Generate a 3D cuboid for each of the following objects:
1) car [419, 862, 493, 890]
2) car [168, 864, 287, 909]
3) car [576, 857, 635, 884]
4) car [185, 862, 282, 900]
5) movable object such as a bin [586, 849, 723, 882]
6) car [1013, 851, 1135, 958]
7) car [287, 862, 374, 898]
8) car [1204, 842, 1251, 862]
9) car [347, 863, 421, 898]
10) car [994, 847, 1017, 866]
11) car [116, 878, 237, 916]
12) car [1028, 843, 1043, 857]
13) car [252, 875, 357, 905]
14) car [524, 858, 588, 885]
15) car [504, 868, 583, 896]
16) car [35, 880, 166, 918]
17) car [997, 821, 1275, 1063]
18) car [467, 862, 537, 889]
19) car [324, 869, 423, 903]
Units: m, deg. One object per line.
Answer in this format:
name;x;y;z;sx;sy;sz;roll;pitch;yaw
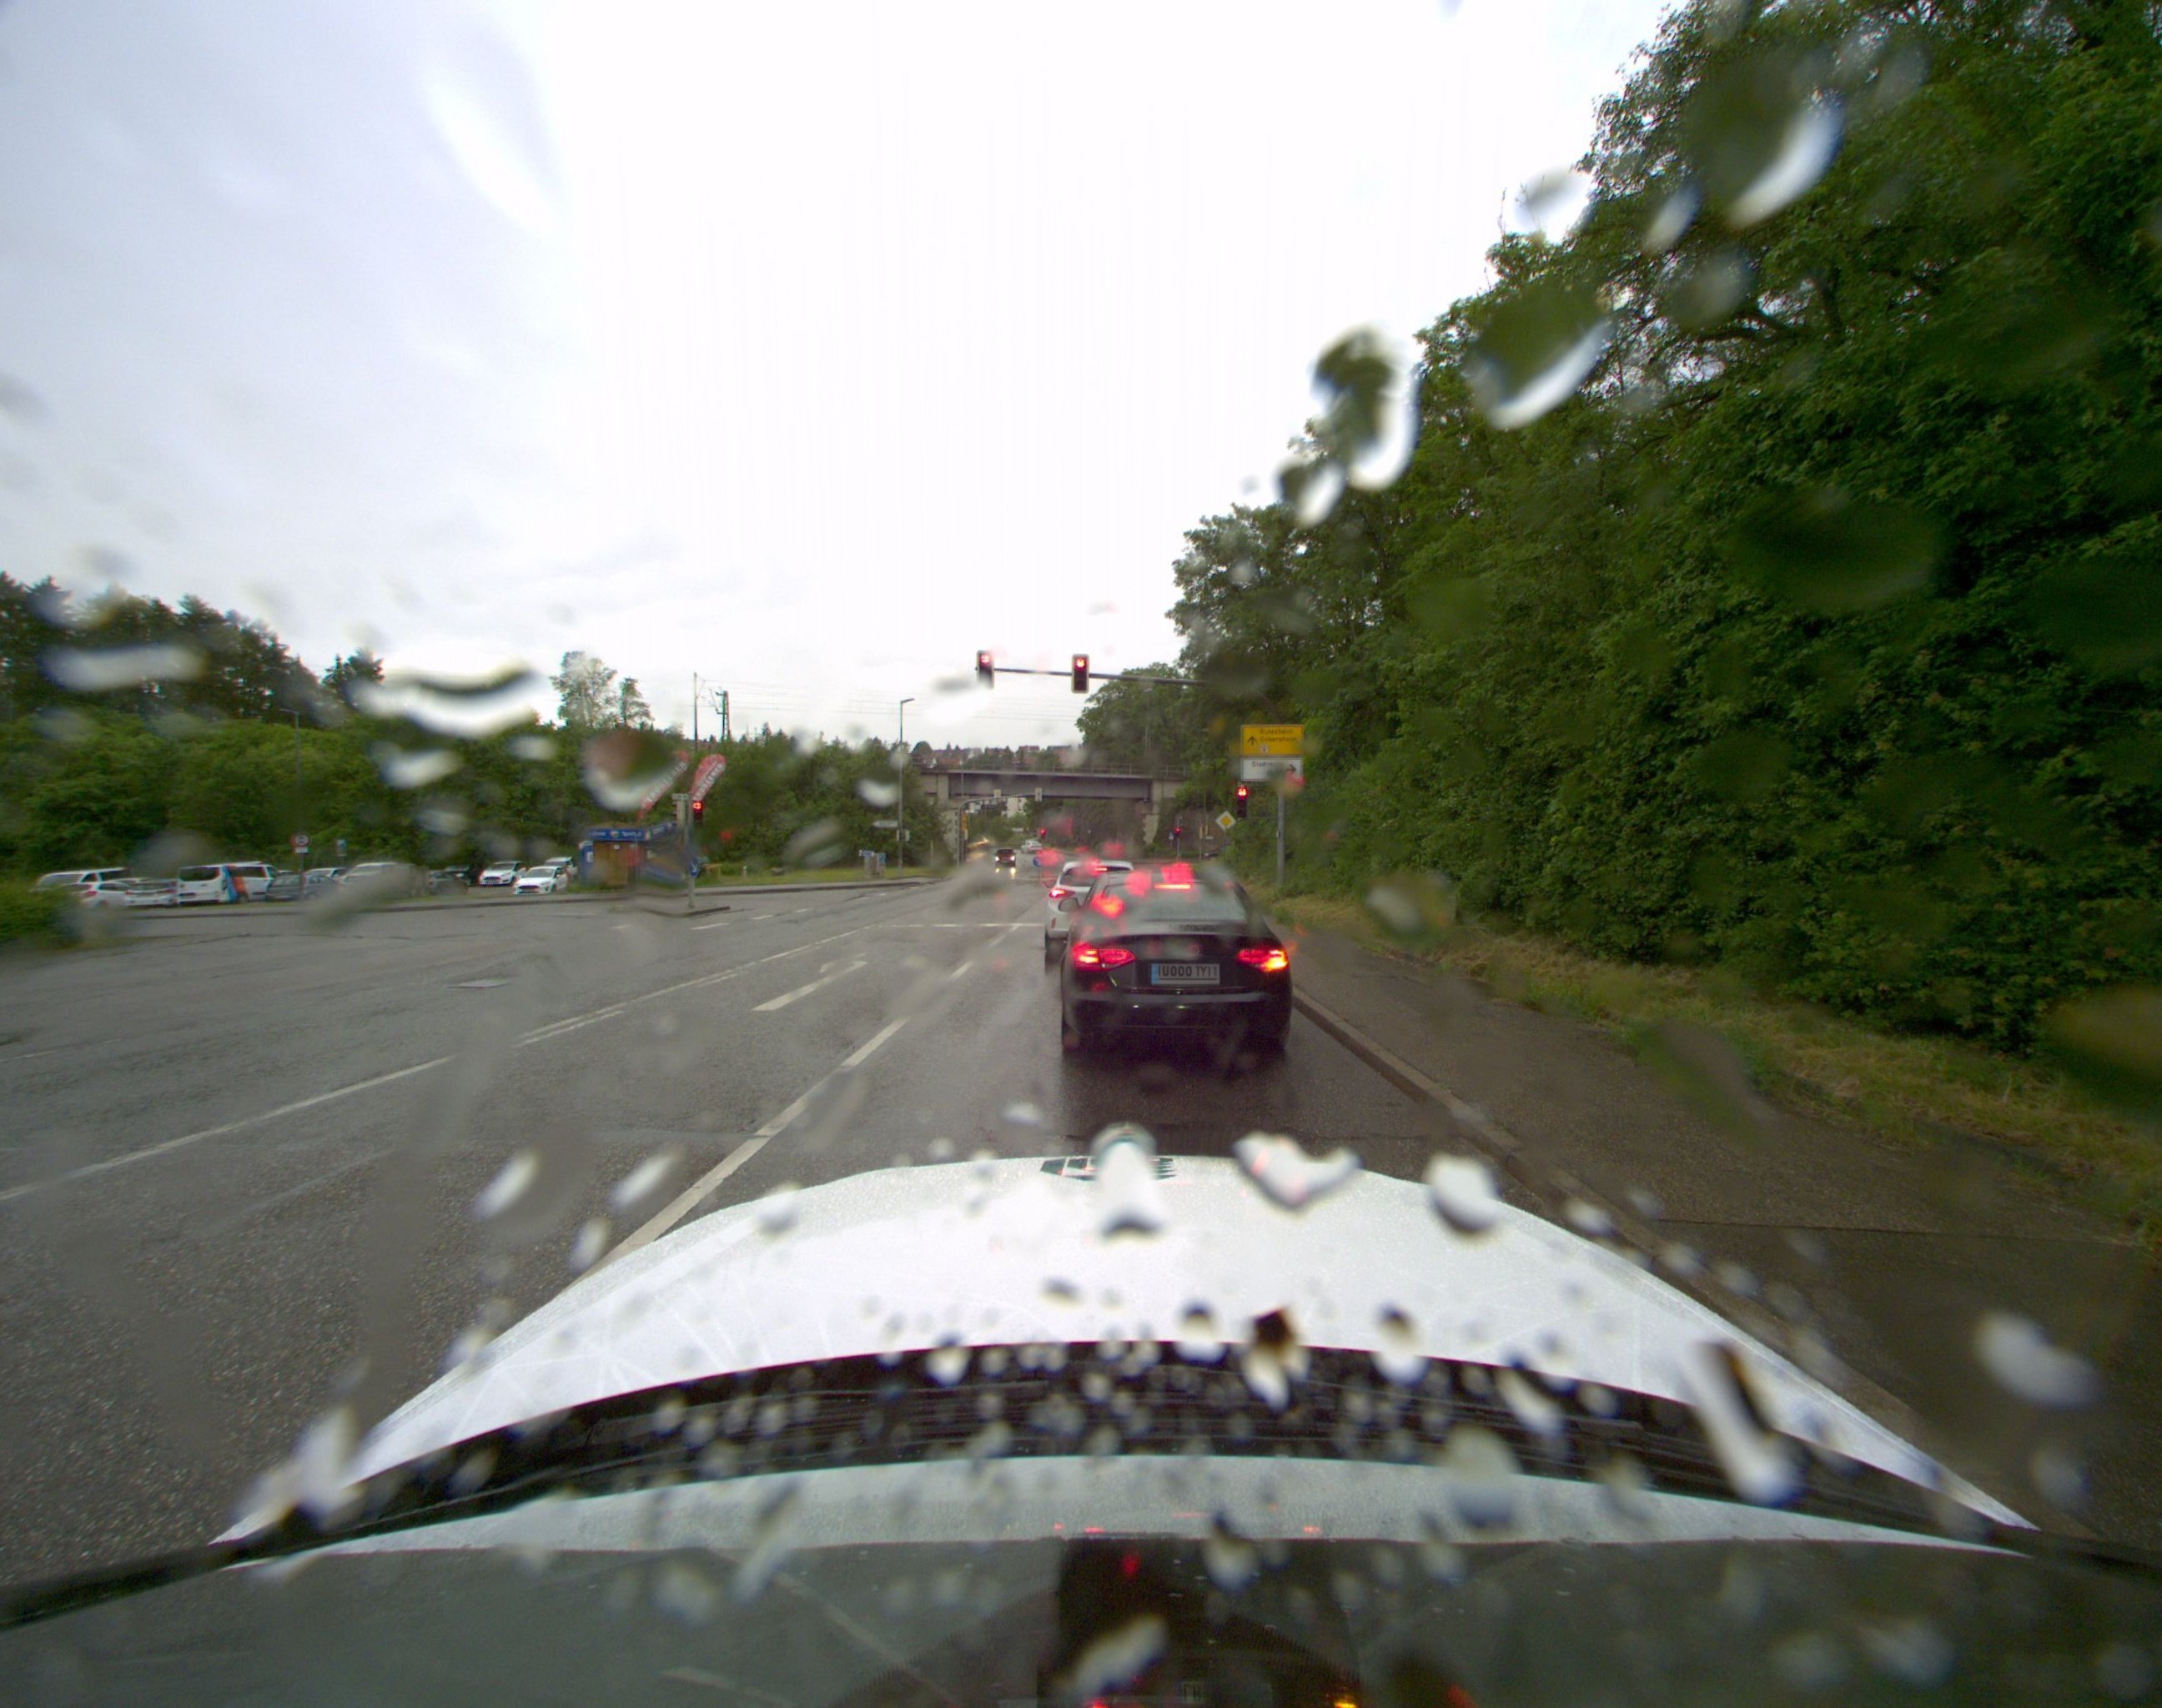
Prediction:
car;-37.946;1.334;49.558;1.994;1.585;3.984;0;-1;-11
car;-39.443;1.475;37.777;1.997;1.949;3.978;0;-1;-16
car;-30.373;1.044;52.119;1.994;1.585;3.985;-2;0;-11
car;-49.281;1.532;47.495;1.995;2.013;3.983;-2;0;-12
movable object such as a bin;-22.308;0.606;42.794;2.716;1.628;5.816;-2;-1;41
car;-0.045;0.794;14.178;1.816;1.585;4.001;-1;-1;2
car;-44.766;1.495;48.699;1.995;2.013;3.983;-2;0;-12
car;13.005;-0.174;72.093;3.961;1.596;2.007;-2;0;11
car;-42.166;1.563;49.376;1.941;2.013;3.849;0;0;-15
car;-6.970;0.205;75.240;1.990;1.628;3.993;-1;0;-5
car;-41.729;1.951;37.699;1.858;1.585;3.978;0;-1;-16
car;-5.944;-0.506;106.121;1.801;1.742;4.474;-1;-1;-4
car;-37.164;1.680;39.119;1.751;1.310;3.984;0;-1;-11
car;-32.609;1.045;50.717;1.994;1.585;3.985;-2;0;-11
car;-27.751;1.421;42.217;1.652;1.340;4.883;0;-1;-11
car;-44.364;1.989;36.992;1.837;1.585;3.978;0;-1;-16
car;0.430;0.630;7.517;1.863;1.617;4.001;-1;-1;2
car;-35.345;1.307;49.838;1.994;1.585;3.984;0;-1;-11
car;-34.491;1.524;39.869;1.937;1.585;3.892;0;-1;-11
